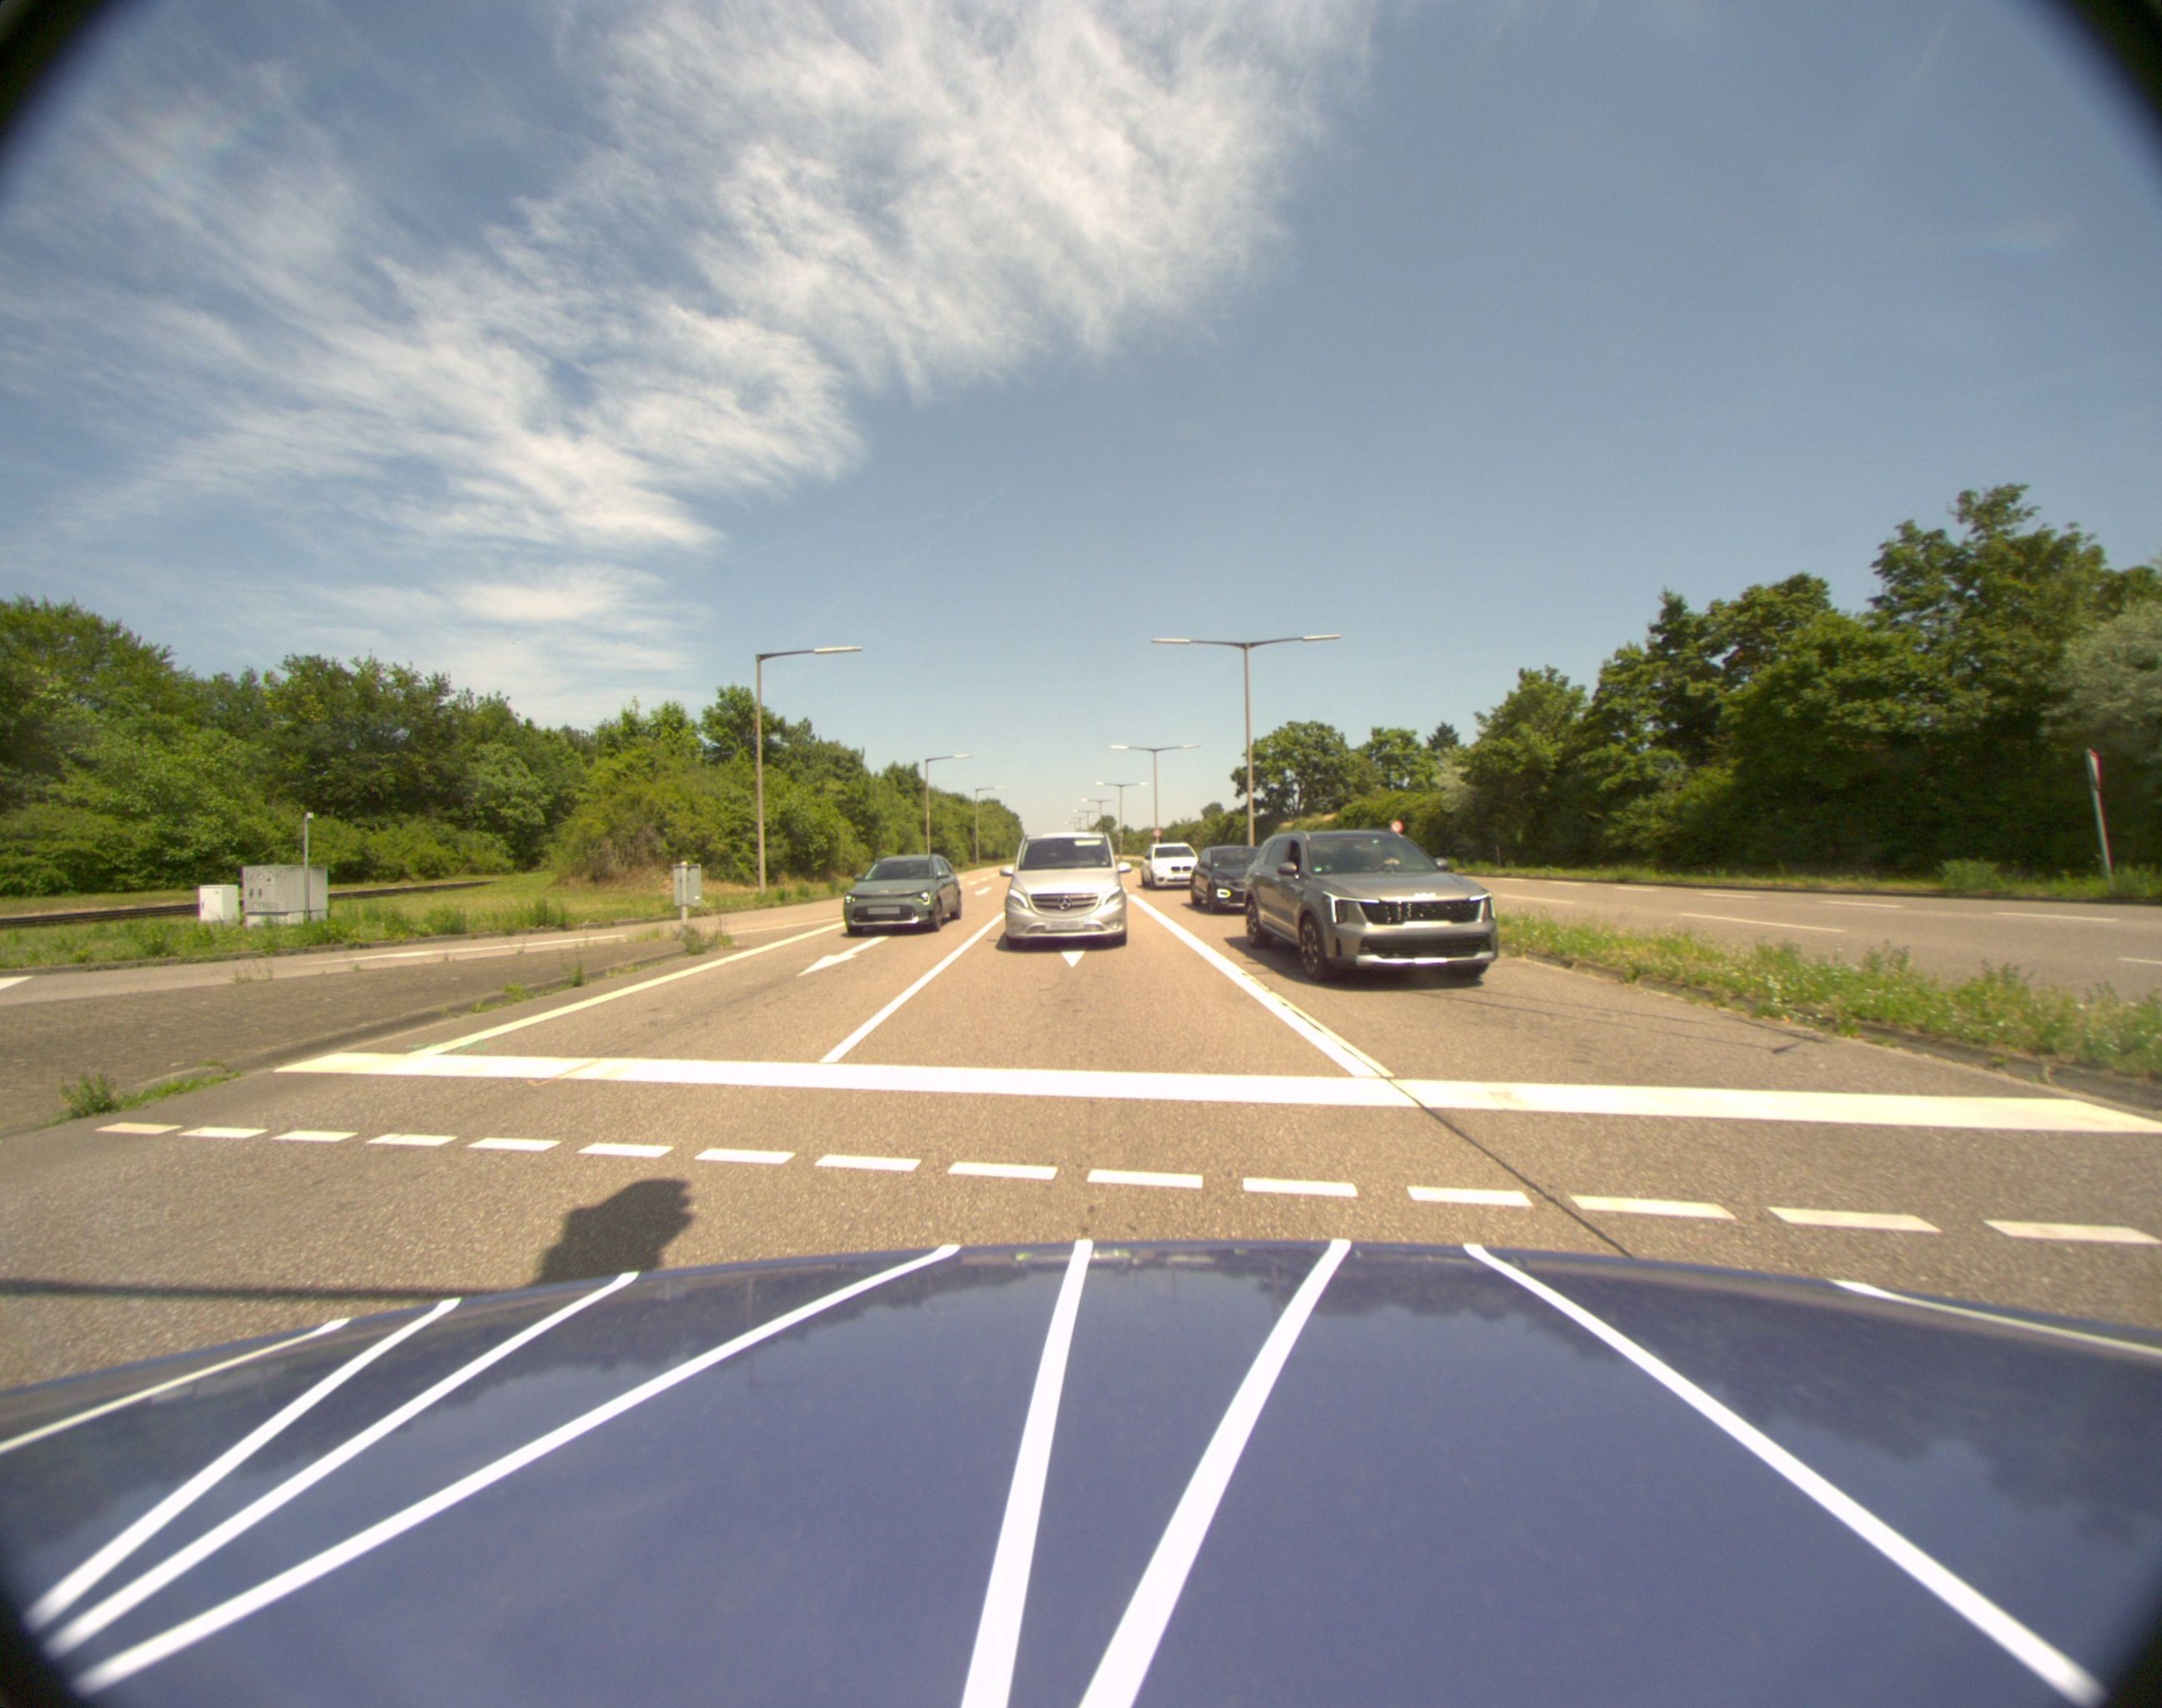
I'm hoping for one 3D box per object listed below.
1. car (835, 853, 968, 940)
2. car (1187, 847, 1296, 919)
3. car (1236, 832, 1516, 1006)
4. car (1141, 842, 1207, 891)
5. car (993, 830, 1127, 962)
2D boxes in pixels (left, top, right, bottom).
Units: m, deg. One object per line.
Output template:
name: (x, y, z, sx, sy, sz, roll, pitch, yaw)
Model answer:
car: (-3.659, 0.799, 16.237, 1.722, 1.587, 4.000, -1, 0, 3)
car: (3.730, 0.604, 18.337, 1.753, 1.491, 3.999, -2, 1, 0)
car: (3.338, 0.618, 9.671, 1.785, 1.658, 4.530, -1, 1, 0)
car: (3.431, 0.396, 28.656, 1.921, 1.662, 4.001, -1, 1, -1)
car: (-0.236, 0.576, 13.774, 1.876, 1.866, 5.732, -1, 1, 1)
